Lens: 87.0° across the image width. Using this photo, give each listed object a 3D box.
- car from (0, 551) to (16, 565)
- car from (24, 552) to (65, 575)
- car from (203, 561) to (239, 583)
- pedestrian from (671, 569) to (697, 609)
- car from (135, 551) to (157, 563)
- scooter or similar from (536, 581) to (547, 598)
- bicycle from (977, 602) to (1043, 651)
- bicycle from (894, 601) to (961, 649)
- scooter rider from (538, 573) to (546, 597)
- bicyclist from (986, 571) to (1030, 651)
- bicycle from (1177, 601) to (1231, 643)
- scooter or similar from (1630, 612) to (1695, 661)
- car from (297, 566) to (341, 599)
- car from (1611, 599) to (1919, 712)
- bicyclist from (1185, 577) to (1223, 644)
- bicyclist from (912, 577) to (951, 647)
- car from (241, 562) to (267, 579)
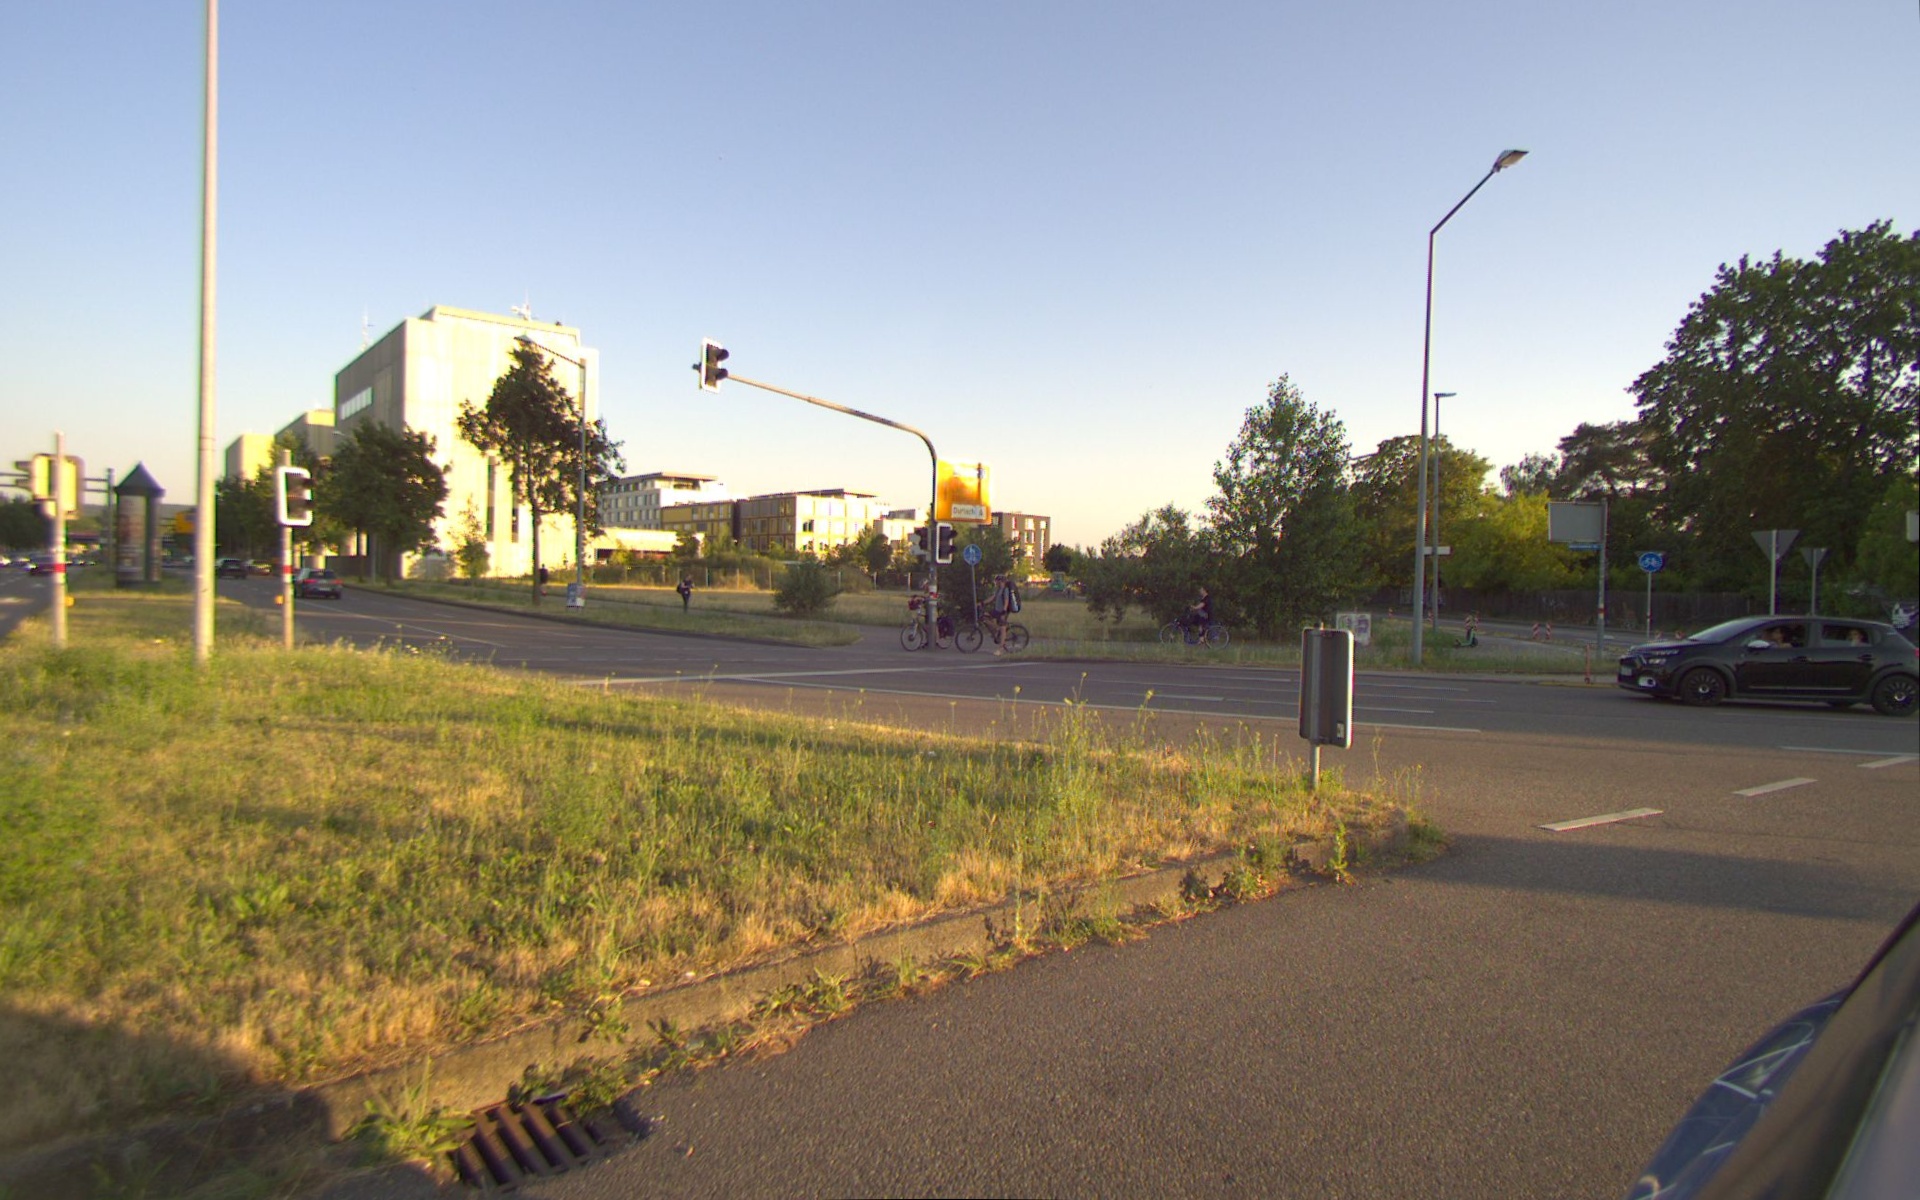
[{"bbox_3d":[-109.974,-4.862,116.572,1.591,1.537,3.712,-1,2,-40],"label":"car"},{"bbox_3d":[-63.003,-2.517,69.715,1.812,1.479,4.577,1,1,-39],"label":"car"},{"bbox_3d":[-56.824,-2.138,77.766,1.787,1.544,4.127,1,1,-43],"label":"car"},{"bbox_3d":[-11.041,-0.444,40.497,0.783,1.569,0.567,1,1,-41],"label":"pedestrian"},{"bbox_3d":[-106.603,-5.614,132.450,1.966,1.489,3.992,1,1,-43],"label":"car"},{"bbox_3d":[-24.083,-0.593,58.266,0.243,0.925,1.038,1,1,-40],"label":"scooter or similar"},{"bbox_3d":[1.255,0.638,24.959,1.897,1.098,0.455,-2,3,-44],"label":"bicycle"},{"bbox_3d":[-0.806,0.614,25.691,1.897,1.098,0.455,-3,4,-44],"label":"bicycle"},{"bbox_3d":[-24.069,-0.862,58.229,0.260,1.356,0.406,1,1,-41],"label":"scooter rider"},{"bbox_3d":[1.173,0.248,24.783,0.895,1.921,0.640,-2,3,-44],"label":"bicyclist"},{"bbox_3d":[6.611,0.594,27.442,1.346,1.102,0.280,2,0,0],"label":"bicycle"},{"bbox_3d":[17.622,0.919,25.396,1.355,1.177,0.443,2,1,-6],"label":"scooter or similar"},{"bbox_3d":[-31.257,-0.874,49.289,1.717,1.441,4.137,1,1,-33],"label":"car"},{"bbox_3d":[12.879,0.814,15.981,3.946,1.482,1.793,2,1,18],"label":"car"},{"bbox_3d":[6.604,0.285,27.431,0.828,1.765,0.537,2,0,-1],"label":"bicyclist"},{"bbox_3d":[-0.718,0.283,25.778,0.757,1.722,0.640,-2,3,-44],"label":"bicyclist"},{"bbox_3d":[-66.376,-2.758,95.110,1.720,1.507,4.131,1,1,-39],"label":"car"}]
